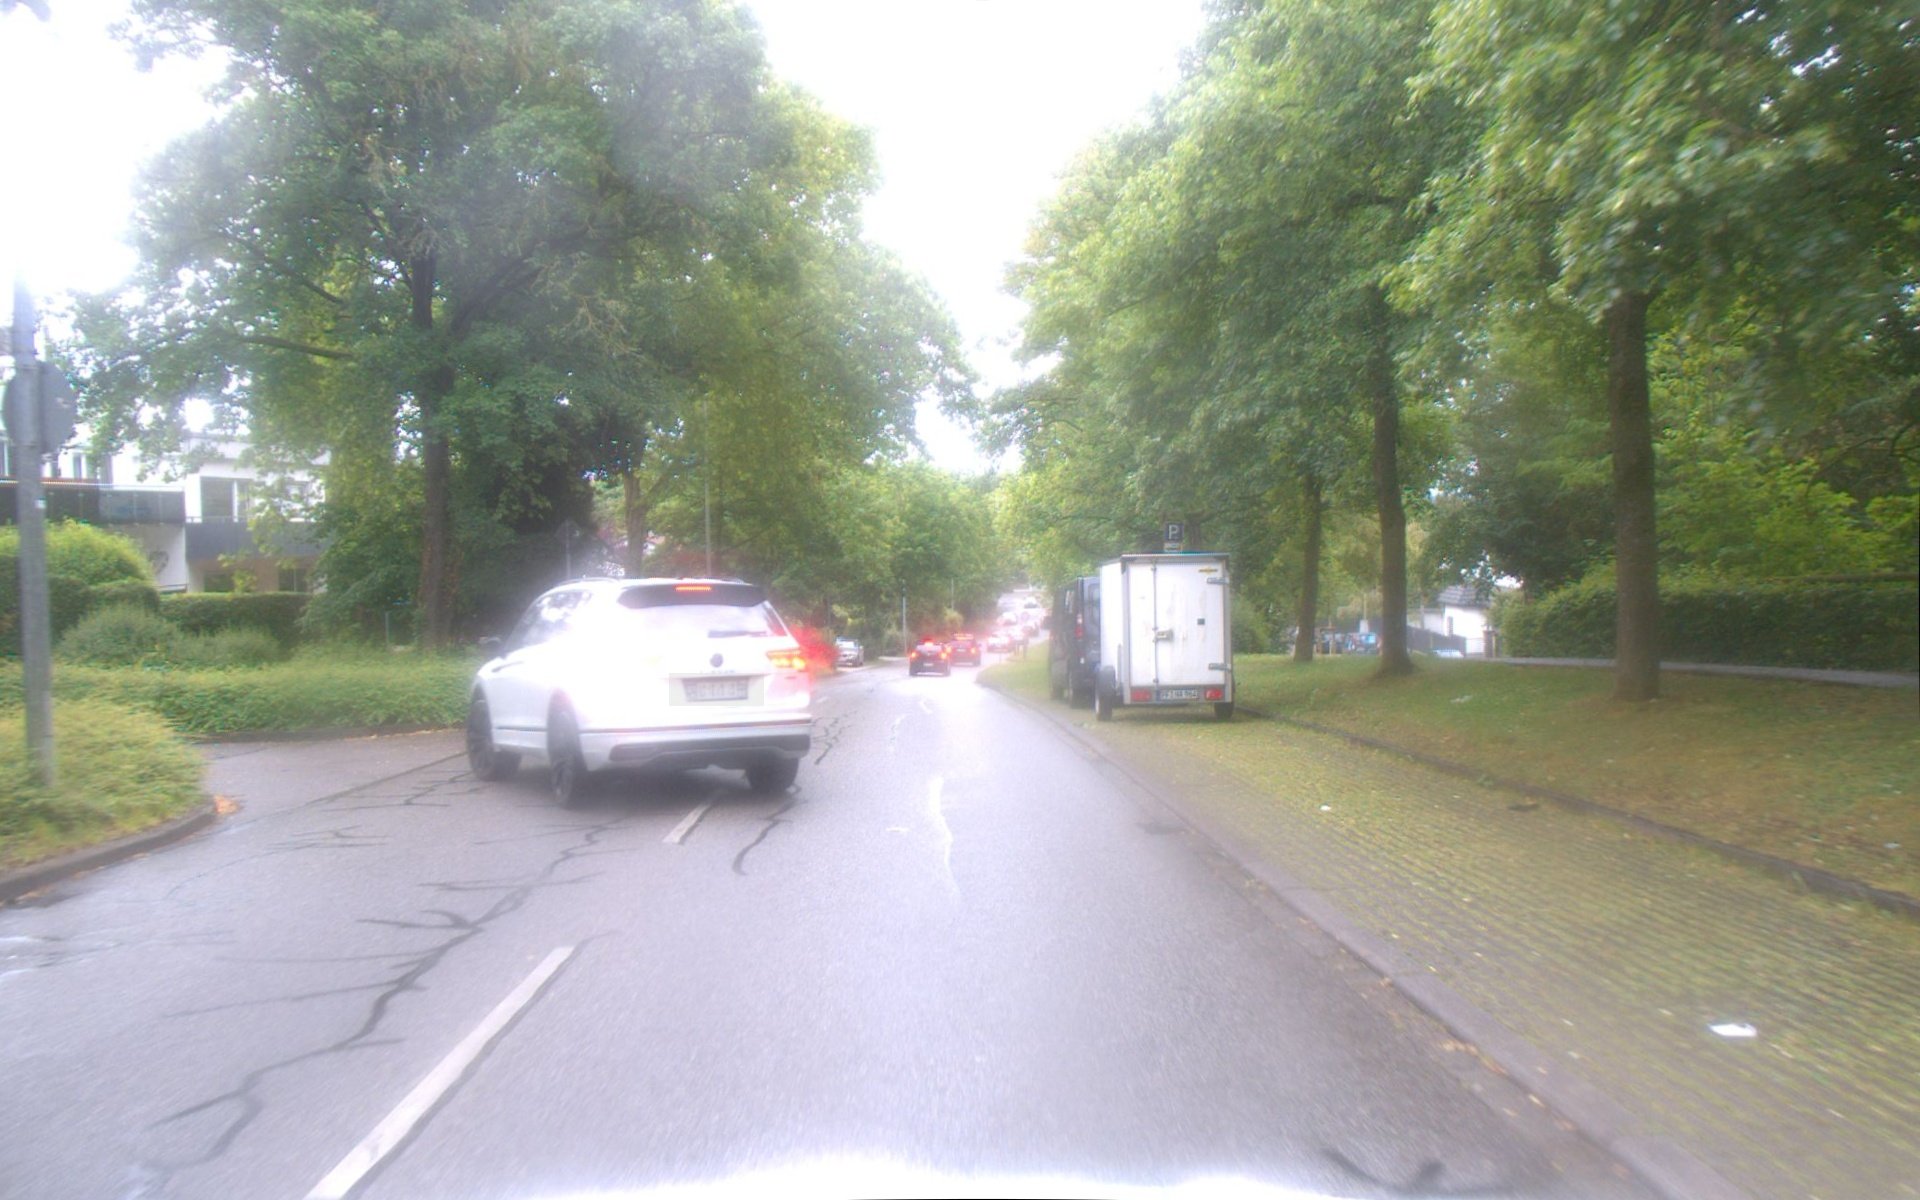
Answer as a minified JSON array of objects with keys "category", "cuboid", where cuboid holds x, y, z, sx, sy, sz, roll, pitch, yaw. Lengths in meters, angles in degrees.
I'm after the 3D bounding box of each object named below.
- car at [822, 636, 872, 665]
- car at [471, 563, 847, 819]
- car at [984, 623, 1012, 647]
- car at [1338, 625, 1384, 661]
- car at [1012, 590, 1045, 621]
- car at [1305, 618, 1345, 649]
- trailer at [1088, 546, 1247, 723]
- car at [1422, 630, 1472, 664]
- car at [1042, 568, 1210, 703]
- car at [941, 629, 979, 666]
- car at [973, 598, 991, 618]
[{"category":"car","cuboid":[-6.464,2.907,95.053,1.951,1.627,4.013,-1,-2,10]},{"category":"car","cuboid":[-2.615,0.634,13.487,1.883,1.715,4.163,-1,0,-27]},{"category":"car","cuboid":[2.853,2.676,125.539,1.819,1.721,3.997,-1,-1,-3]},{"category":"car","cuboid":[26.191,2.789,108.163,1.953,2.048,4.000,-2,1,-1]},{"category":"car","cuboid":[4.678,0.395,113.455,1.954,2.049,3.997,0,-2,-3]},{"category":"car","cuboid":[26.689,2.440,120.926,1.953,2.048,4.000,-2,1,-1]},{"category":"trailer","cuboid":[2.687,0.439,22.165,1.499,2.112,3.999,-2,-1,-1]},{"category":"car","cuboid":[24.923,2.411,84.776,1.769,1.659,4.002,-1,-2,6]},{"category":"car","cuboid":[2.568,0.572,26.984,1.953,1.943,5.506,-1,-1,-2]},{"category":"car","cuboid":[-0.002,2.691,94.460,1.954,2.049,3.997,-1,-2,-3]},{"category":"car","cuboid":[2.563,0.973,193.658,1.953,2.048,4.002,0,4,0]}]
